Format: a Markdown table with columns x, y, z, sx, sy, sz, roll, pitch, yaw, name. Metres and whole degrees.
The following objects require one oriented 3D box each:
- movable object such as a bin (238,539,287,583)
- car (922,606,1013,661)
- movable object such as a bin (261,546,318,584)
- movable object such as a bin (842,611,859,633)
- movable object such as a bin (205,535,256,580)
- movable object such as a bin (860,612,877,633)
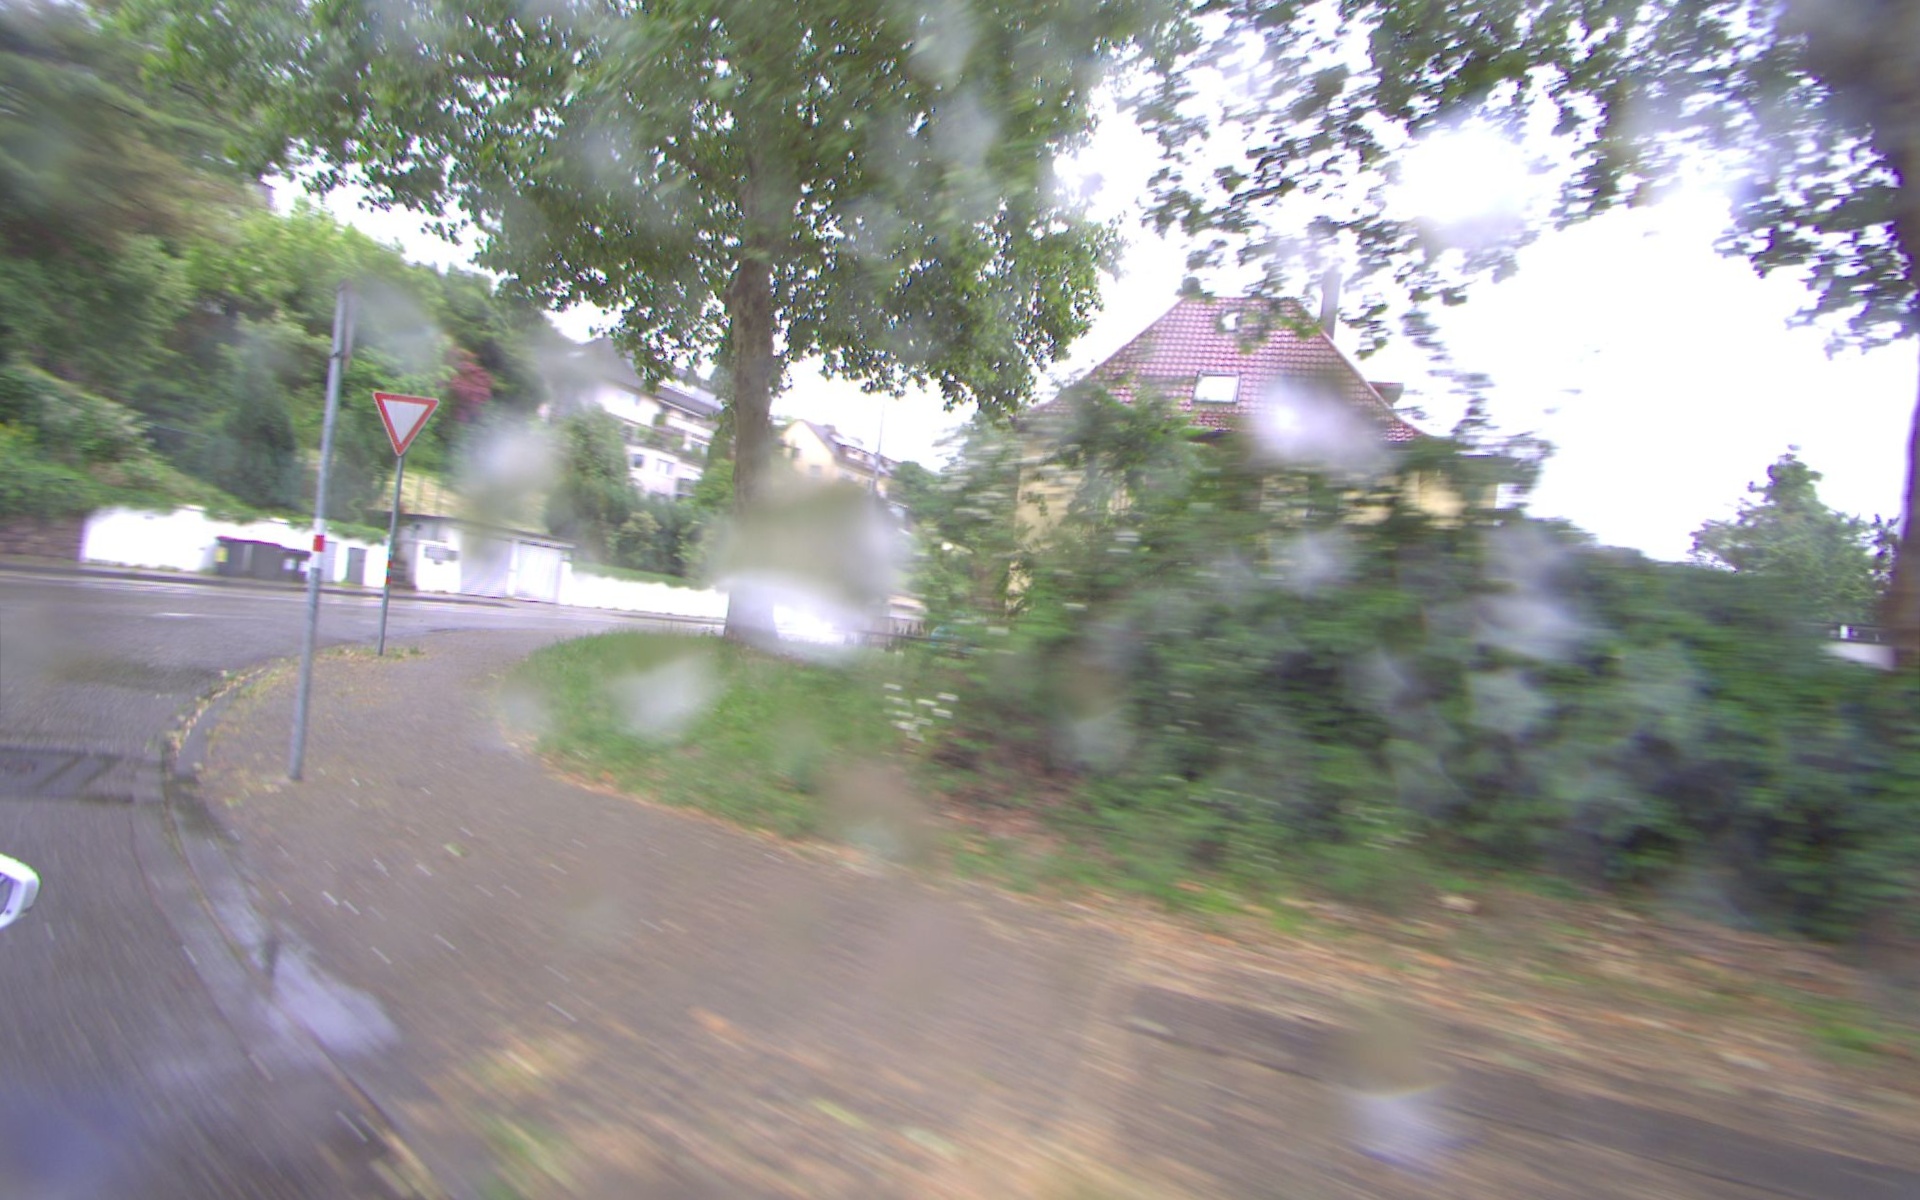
| x | y | z | sx | sy | sz | roll | pitch | yaw | name |
| --- | --- | --- | --- | --- | --- | --- | --- | --- | --- |
| -18.855 | -1.056 | 27.211 | 0.624 | 1.073 | 0.794 | 6 | 0 | 17 | movable object such as a bin |
| 0.298 | 1.081 | 31.377 | 1.620 | 1.465 | 3.548 | 6 | -1 | 20 | car |
| -18.799 | -0.969 | 28.237 | 0.836 | 0.927 | 0.954 | 6 | 0 | 16 | movable object such as a bin |
| -7.325 | 1.455 | 67.323 | 0.701 | 1.352 | 0.833 | 6 | 0 | 26 | movable object such as a bin |
| -19.192 | -1.115 | 26.479 | 0.676 | 1.073 | 0.754 | 6 | 0 | 17 | movable object such as a bin |
| -6.314 | 1.563 | 69.232 | 0.701 | 1.352 | 0.833 | 6 | 0 | 26 | movable object such as a bin |
